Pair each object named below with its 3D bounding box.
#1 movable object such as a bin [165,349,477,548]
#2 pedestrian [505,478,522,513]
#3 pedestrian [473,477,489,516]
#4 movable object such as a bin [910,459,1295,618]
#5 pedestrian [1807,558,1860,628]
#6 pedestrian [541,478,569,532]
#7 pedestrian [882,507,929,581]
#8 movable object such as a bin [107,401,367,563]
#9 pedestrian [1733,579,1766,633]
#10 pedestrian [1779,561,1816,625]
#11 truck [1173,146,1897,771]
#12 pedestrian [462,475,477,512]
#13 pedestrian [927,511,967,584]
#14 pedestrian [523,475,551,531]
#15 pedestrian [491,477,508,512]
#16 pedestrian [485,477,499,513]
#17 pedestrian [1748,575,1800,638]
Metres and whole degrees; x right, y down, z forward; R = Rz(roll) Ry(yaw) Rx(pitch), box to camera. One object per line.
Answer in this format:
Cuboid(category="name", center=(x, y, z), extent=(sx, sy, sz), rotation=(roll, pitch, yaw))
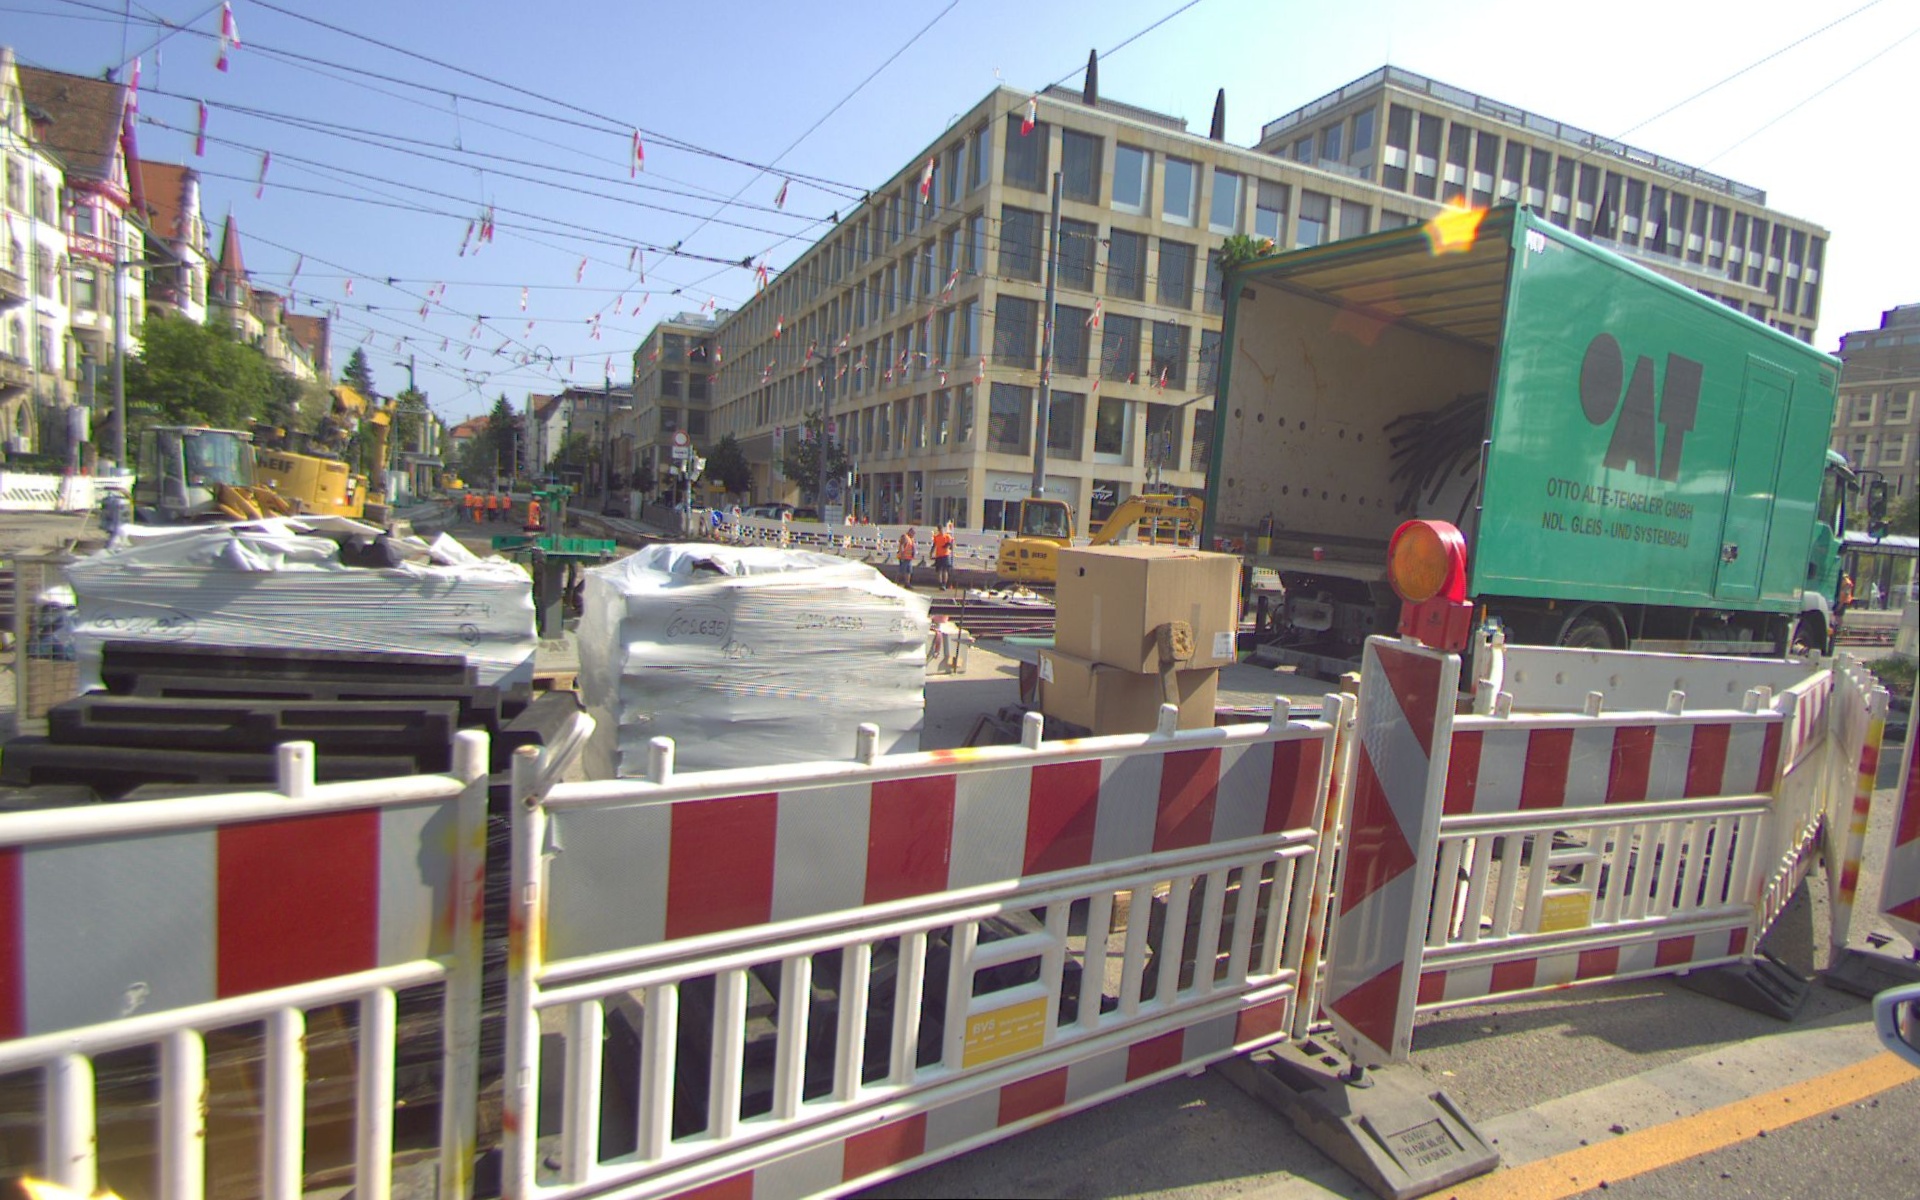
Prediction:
Cuboid(category="movable object such as a bin", center=(-17.464, -4.003, 28.400), extent=(4.882, 4.405, 7.364), rotation=(4, 4, -11))
Cuboid(category="pedestrian", center=(-26.936, -6.278, 60.617), extent=(0.665, 2.041, 0.637), rotation=(4, 5, 6))
Cuboid(category="pedestrian", center=(-26.430, -5.712, 55.465), extent=(0.626, 2.041, 0.677), rotation=(3, 5, -13))
Cuboid(category="movable object such as a bin", center=(3.432, -1.466, 24.231), extent=(8.361, 2.997, 3.603), rotation=(3, 6, -25))
Cuboid(category="pedestrian", center=(25.714, -0.218, 29.568), extent=(0.776, 1.977, 0.721), rotation=(1, 5, -22))
Cuboid(category="pedestrian", center=(-16.074, -3.775, 39.864), extent=(0.812, 2.041, 0.669), rotation=(4, 5, -1))
Cuboid(category="pedestrian", center=(-1.473, -1.498, 26.883), extent=(0.802, 1.890, 0.917), rotation=(0, 6, -34))
Cuboid(category="movable object such as a bin", center=(-14.531, -2.370, 20.163), extent=(4.730, 2.873, 2.445), rotation=(7, 5, 29))
Cuboid(category="pedestrian", center=(23.850, 0.170, 30.335), extent=(0.631, 1.575, 0.623), rotation=(7, 6, 39))
Cuboid(category="pedestrian", center=(25.117, -0.221, 30.121), extent=(0.616, 1.840, 0.639), rotation=(6, 6, 33))
Cuboid(category="truck", center=(6.162, -1.047, 10.033), extent=(8.338, 3.966, 2.772), rotation=(-1, 8, -37))
Cuboid(category="pedestrian", center=(-28.251, -6.127, 57.869), extent=(0.631, 2.041, 0.672), rotation=(0, 7, -36))
Cuboid(category="pedestrian", center=(-0.346, -1.418, 27.077), extent=(0.794, 1.890, 0.756), rotation=(5, 5, 13))
Cuboid(category="pedestrian", center=(-16.517, -3.780, 39.185), extent=(0.886, 2.092, 0.665), rotation=(9, 7, 42))
Cuboid(category="pedestrian", center=(-27.581, -6.297, 60.150), extent=(0.667, 2.041, 0.635), rotation=(7, 6, 32))
Cuboid(category="pedestrian", center=(-27.552, -6.183, 59.111), extent=(0.631, 2.041, 0.672), rotation=(0, 6, -34))
Cuboid(category="pedestrian", center=(23.085, 0.181, 28.513), extent=(0.756, 1.686, 0.669), rotation=(4, 5, 9))
